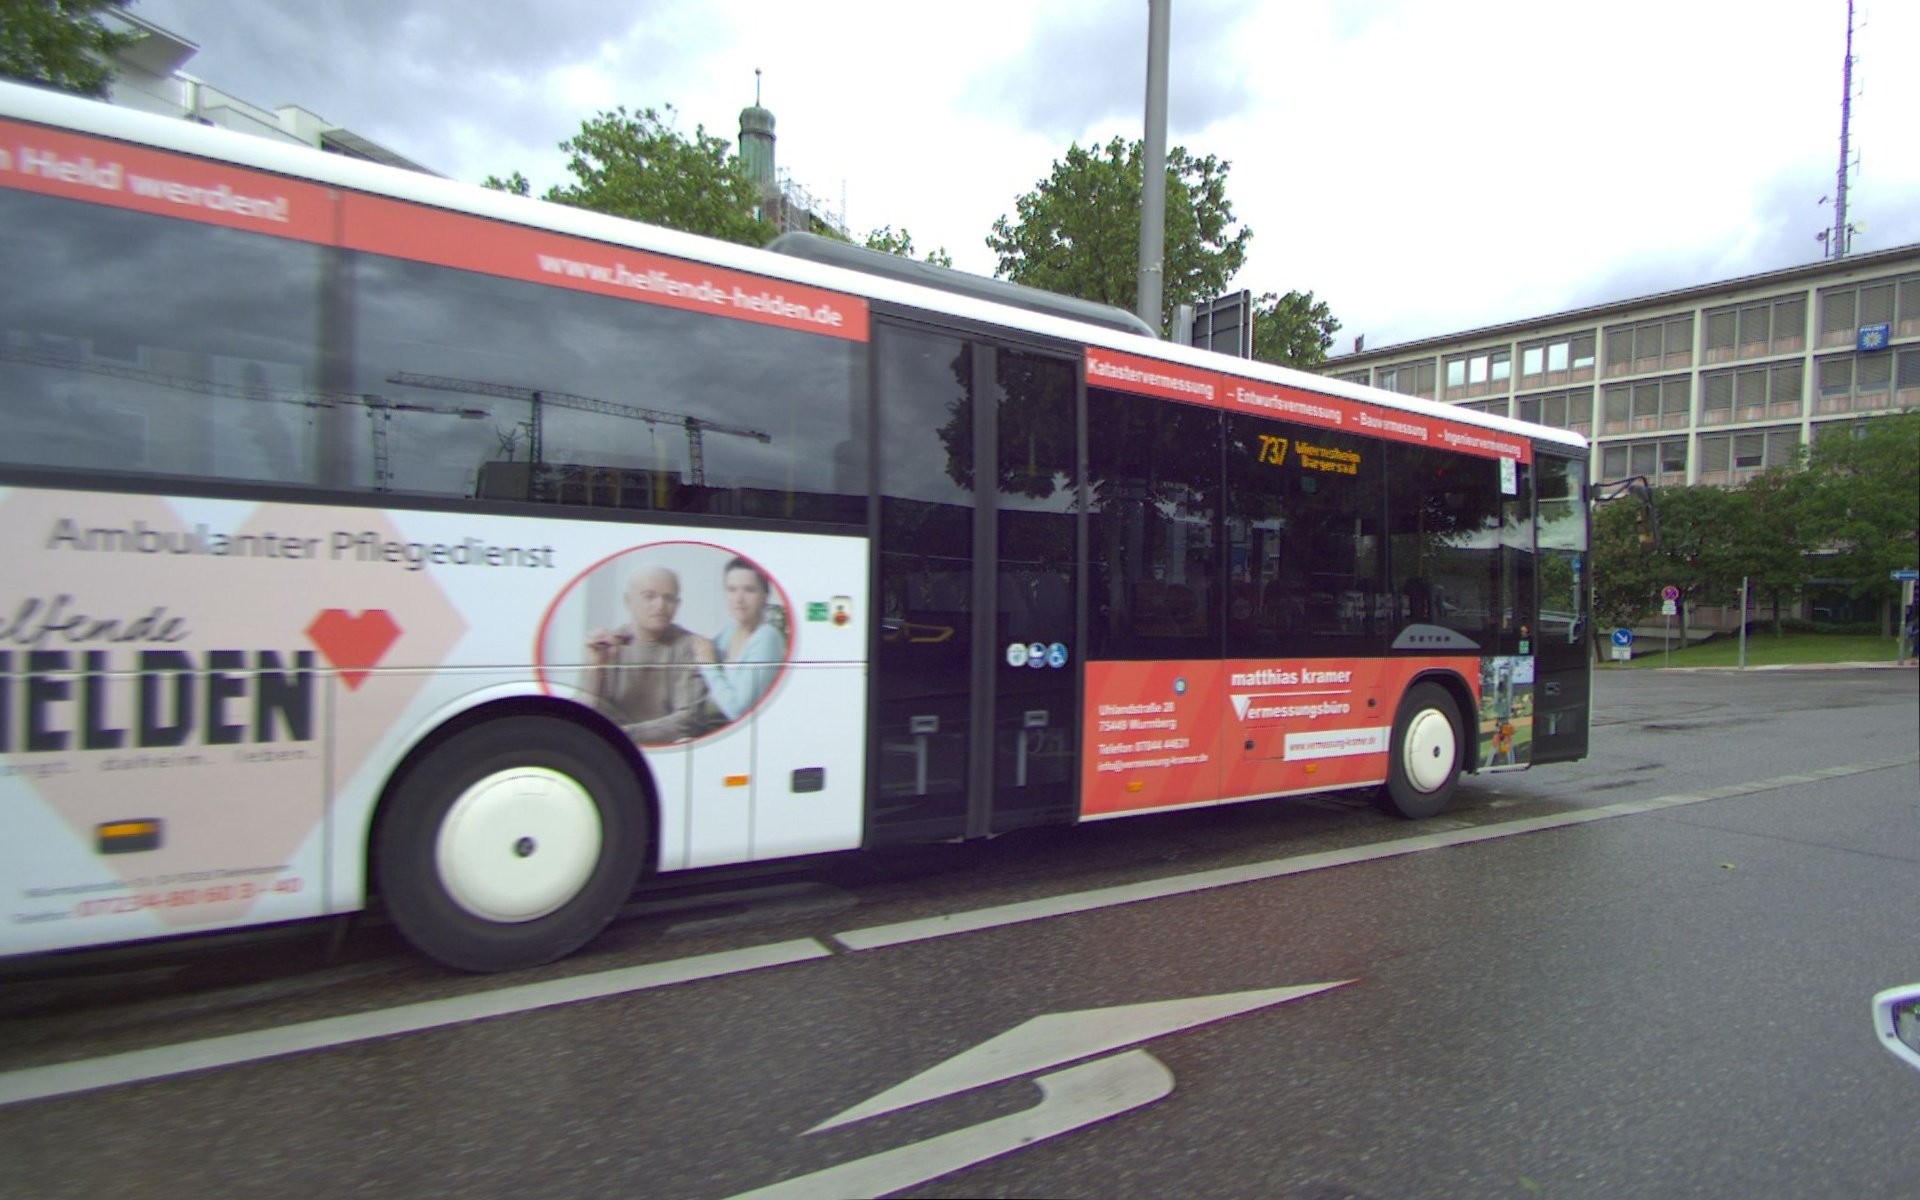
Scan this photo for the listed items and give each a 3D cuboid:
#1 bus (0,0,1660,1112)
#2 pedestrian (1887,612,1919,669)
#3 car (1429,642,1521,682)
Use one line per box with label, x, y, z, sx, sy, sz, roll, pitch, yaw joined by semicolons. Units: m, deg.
bus;0.101;-0.175;6.637;12.422;3.485;2.938;1;0;-33
pedestrian;35.548;1.511;37.623;0.861;2.073;0.932;1;0;-24
car;27.205;3.239;53.260;1.964;1.990;4.581;1;-2;-10
